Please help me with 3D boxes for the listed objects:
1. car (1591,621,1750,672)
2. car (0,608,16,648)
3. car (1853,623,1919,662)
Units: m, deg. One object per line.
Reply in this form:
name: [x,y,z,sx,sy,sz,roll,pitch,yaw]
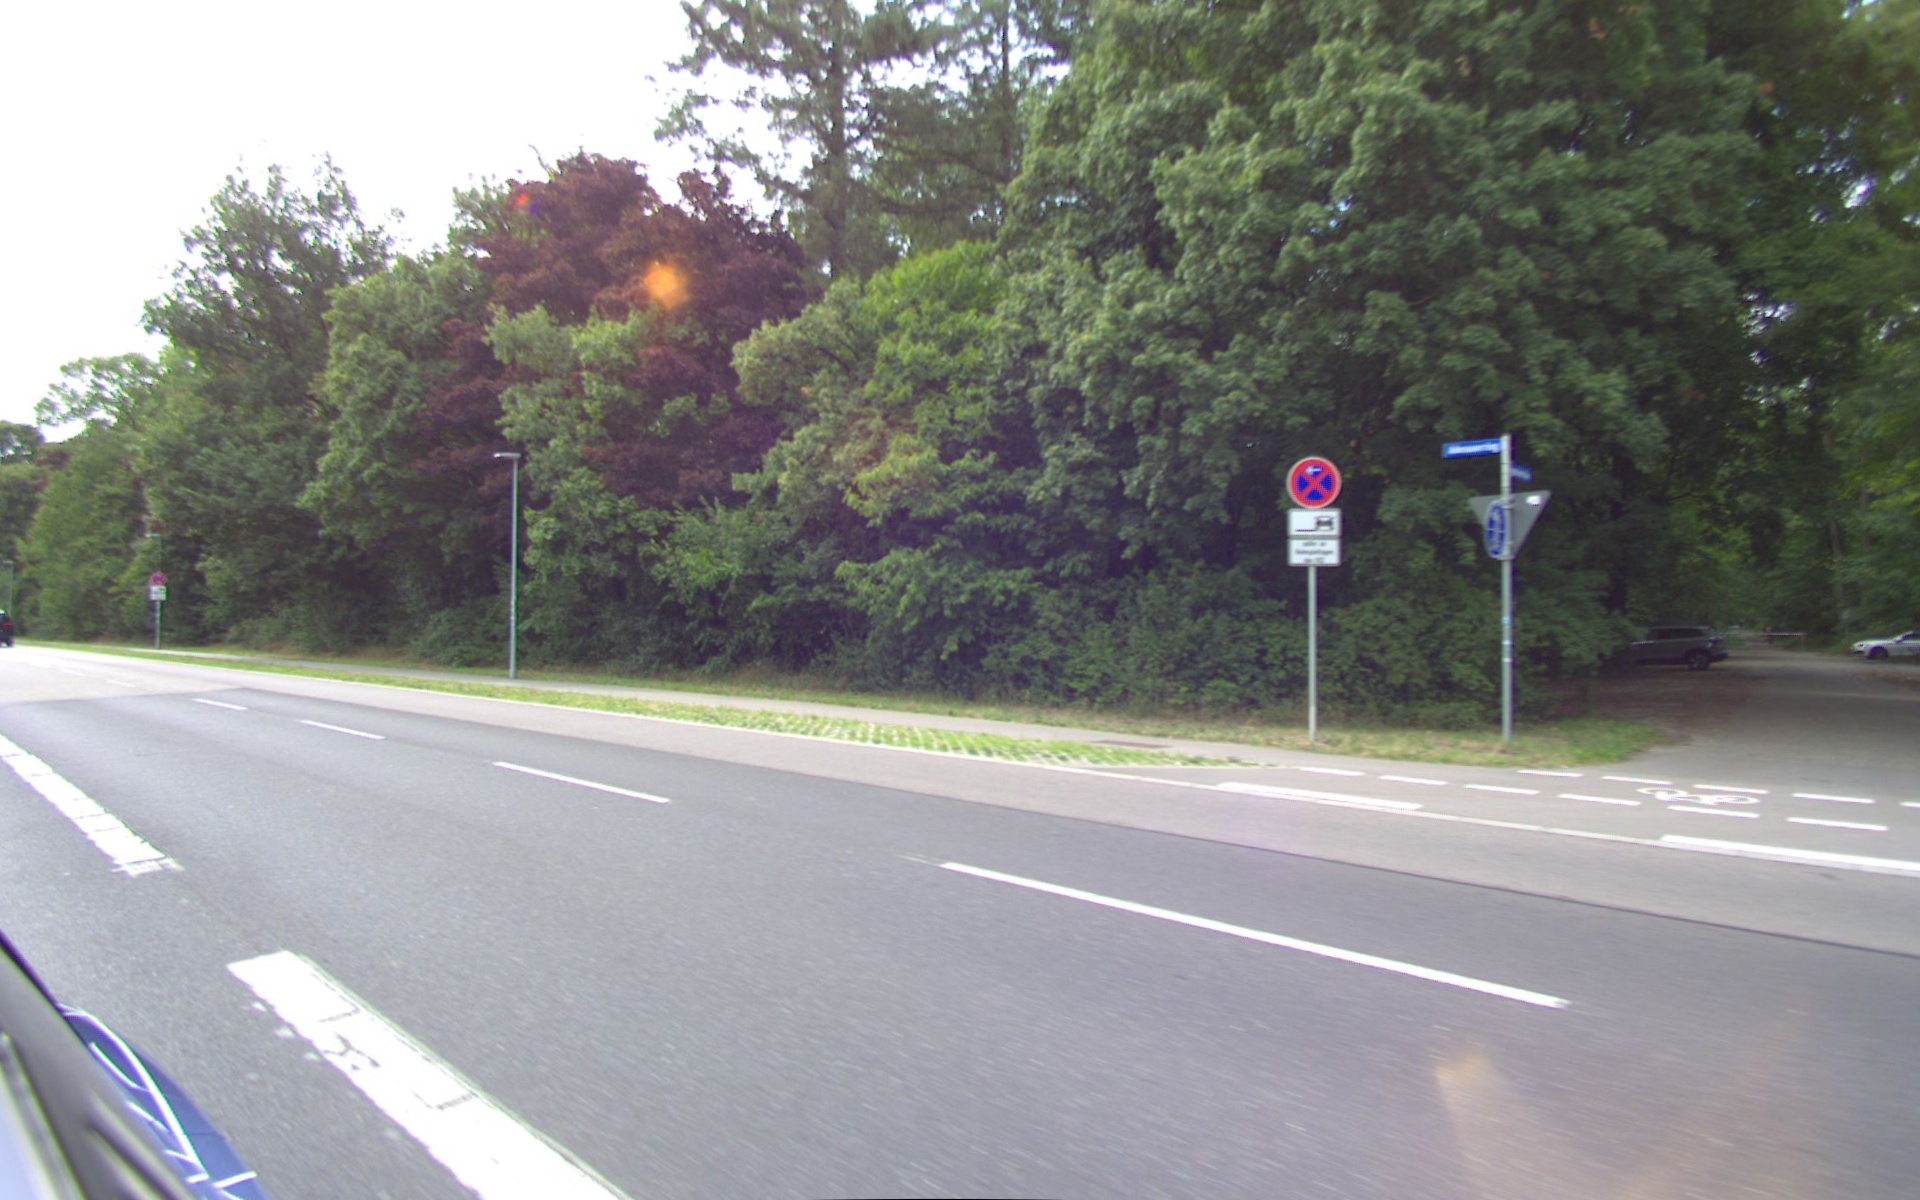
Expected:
car: [25.305,1.620,36.268,4.525,1.597,1.978,0,2,33]
car: [-46.400,1.343,47.863,4.743,1.804,1.974,0,2,40]
car: [45.731,2.004,48.218,4.525,1.704,1.978,0,2,33]
